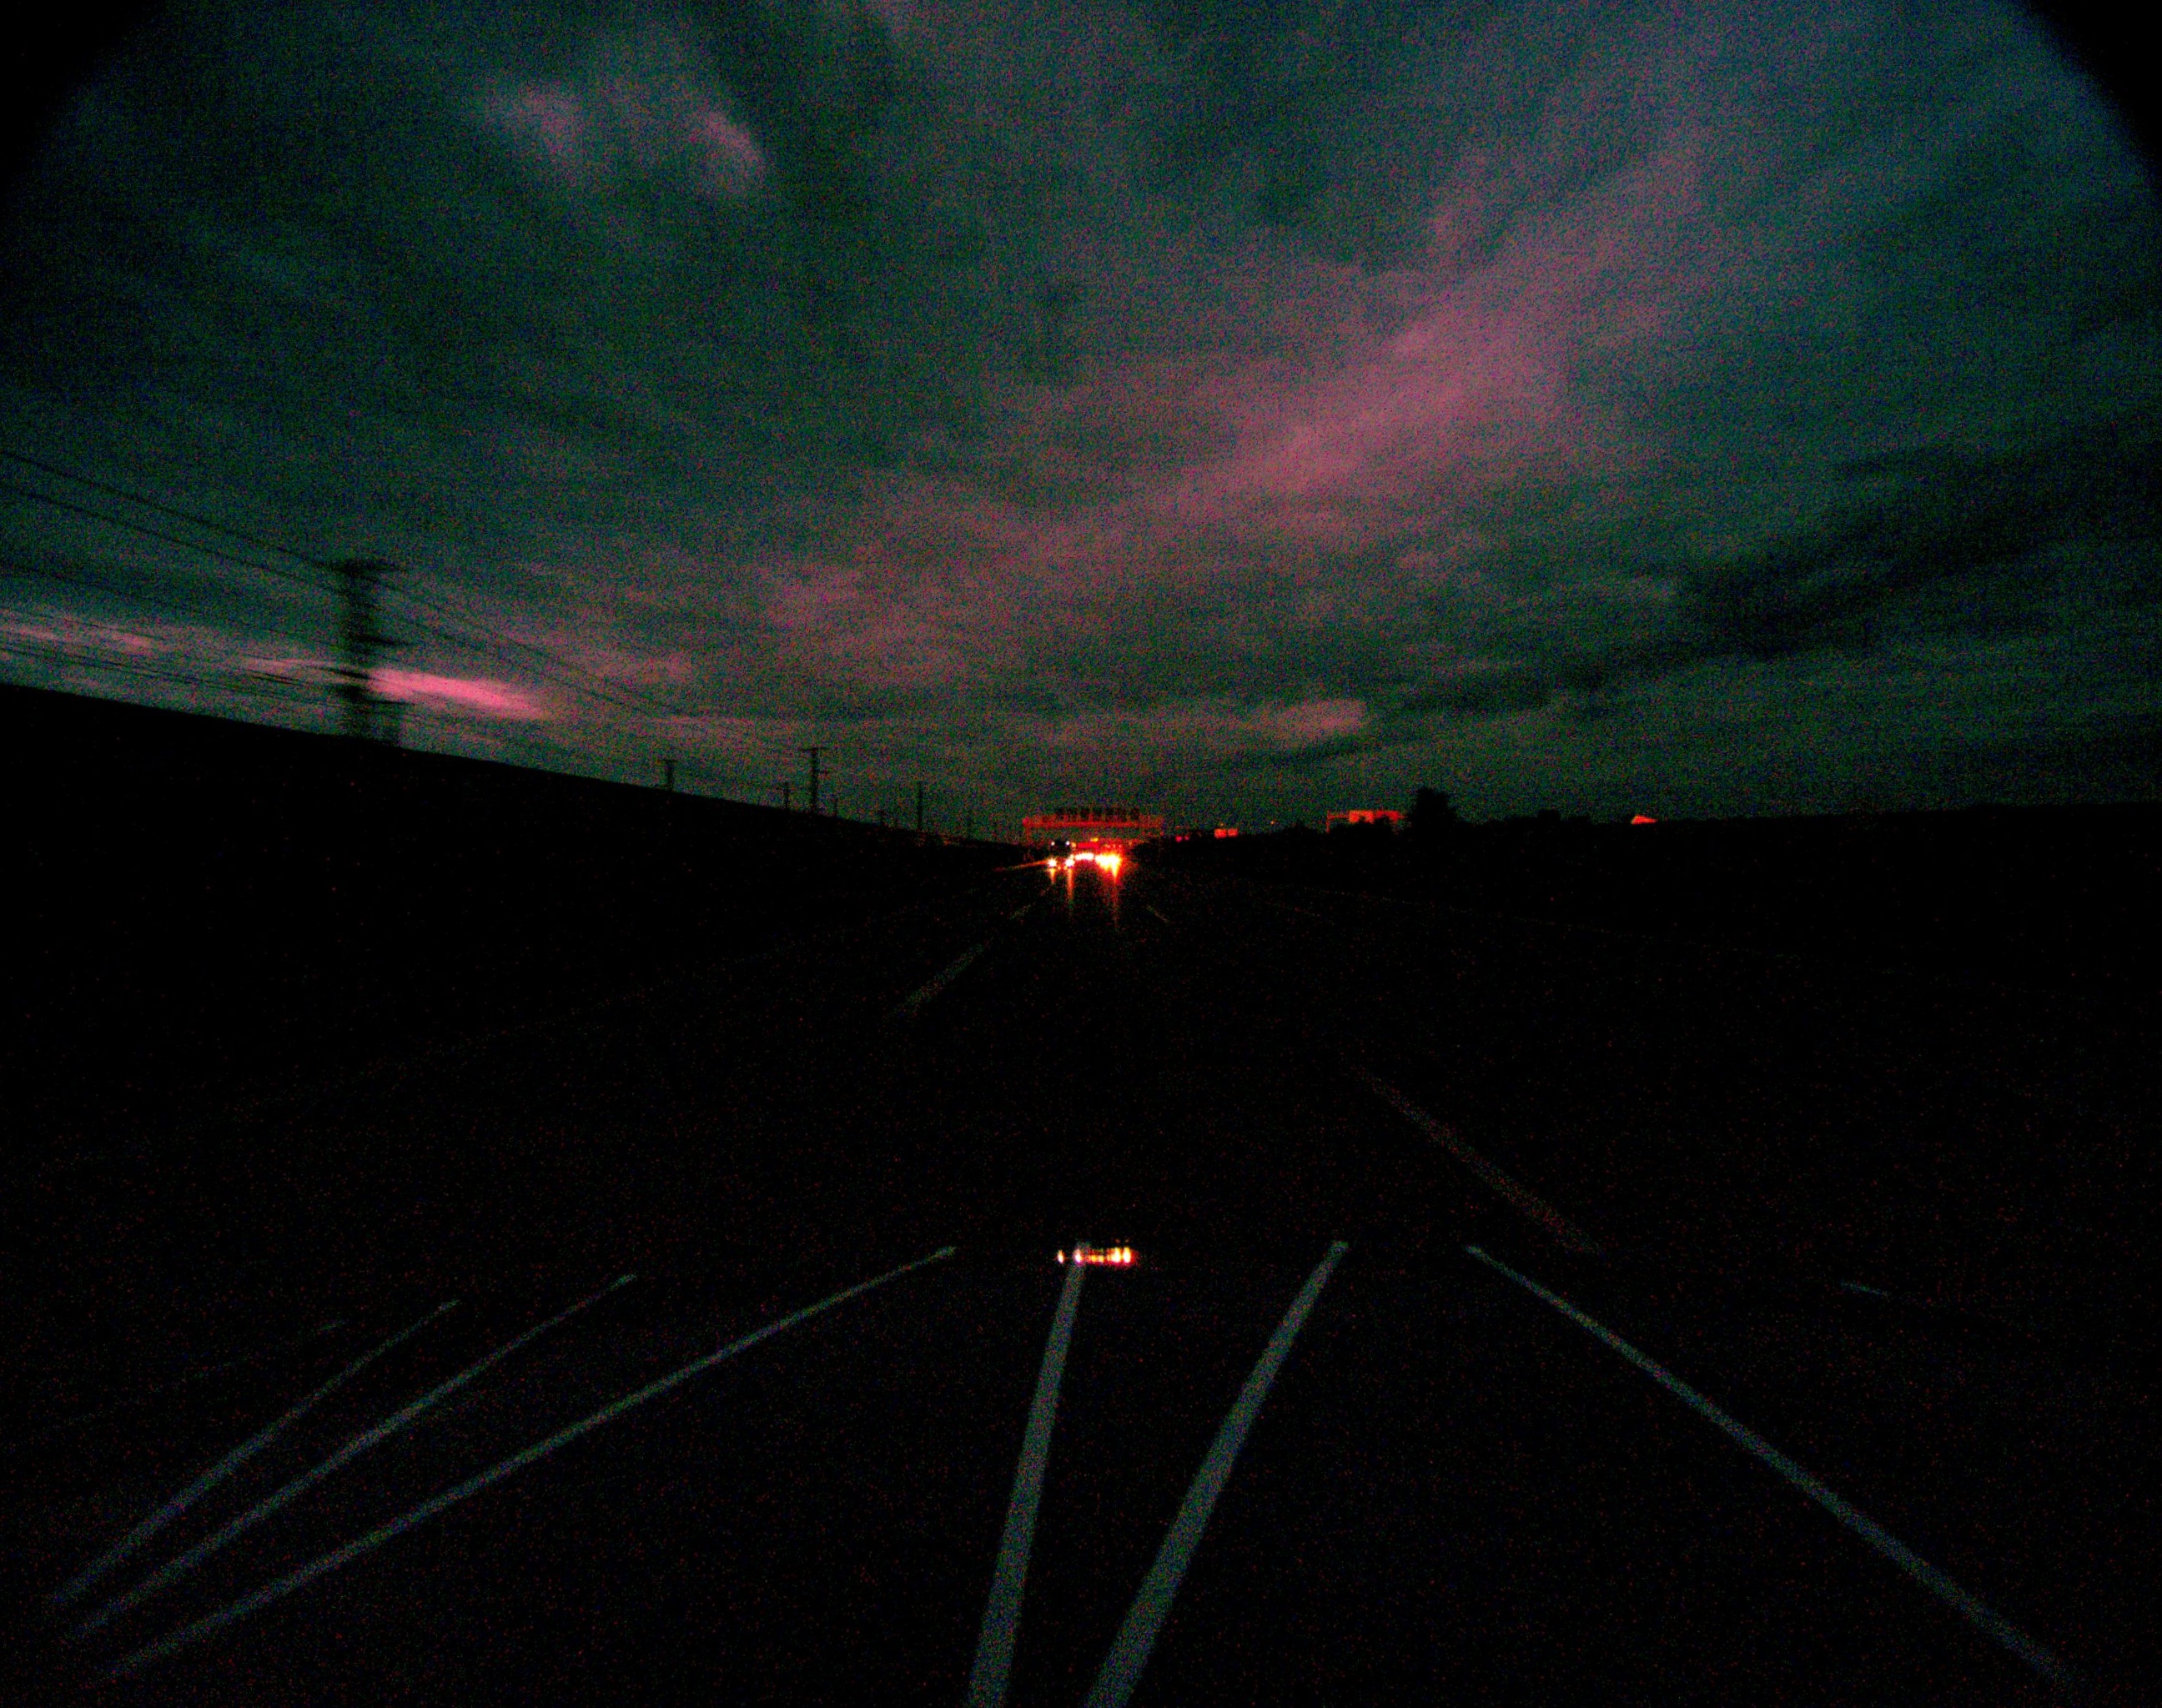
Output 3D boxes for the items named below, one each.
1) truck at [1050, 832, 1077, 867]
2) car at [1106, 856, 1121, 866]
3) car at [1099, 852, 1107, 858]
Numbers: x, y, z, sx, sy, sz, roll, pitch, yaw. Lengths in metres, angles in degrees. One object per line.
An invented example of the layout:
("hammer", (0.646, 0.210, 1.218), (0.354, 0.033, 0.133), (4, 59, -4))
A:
("truck", (-2.100, -0.441, 96.861), (3.060, 4.046, 10.523), (1, -2, 0))
("car", (4.925, 1.050, 116.154), (1.998, 1.341, 4.175), (3, 0, 0))
("car", (5.550, 0.287, 191.655), (1.998, 1.341, 4.175), (-1, 0, 1))
